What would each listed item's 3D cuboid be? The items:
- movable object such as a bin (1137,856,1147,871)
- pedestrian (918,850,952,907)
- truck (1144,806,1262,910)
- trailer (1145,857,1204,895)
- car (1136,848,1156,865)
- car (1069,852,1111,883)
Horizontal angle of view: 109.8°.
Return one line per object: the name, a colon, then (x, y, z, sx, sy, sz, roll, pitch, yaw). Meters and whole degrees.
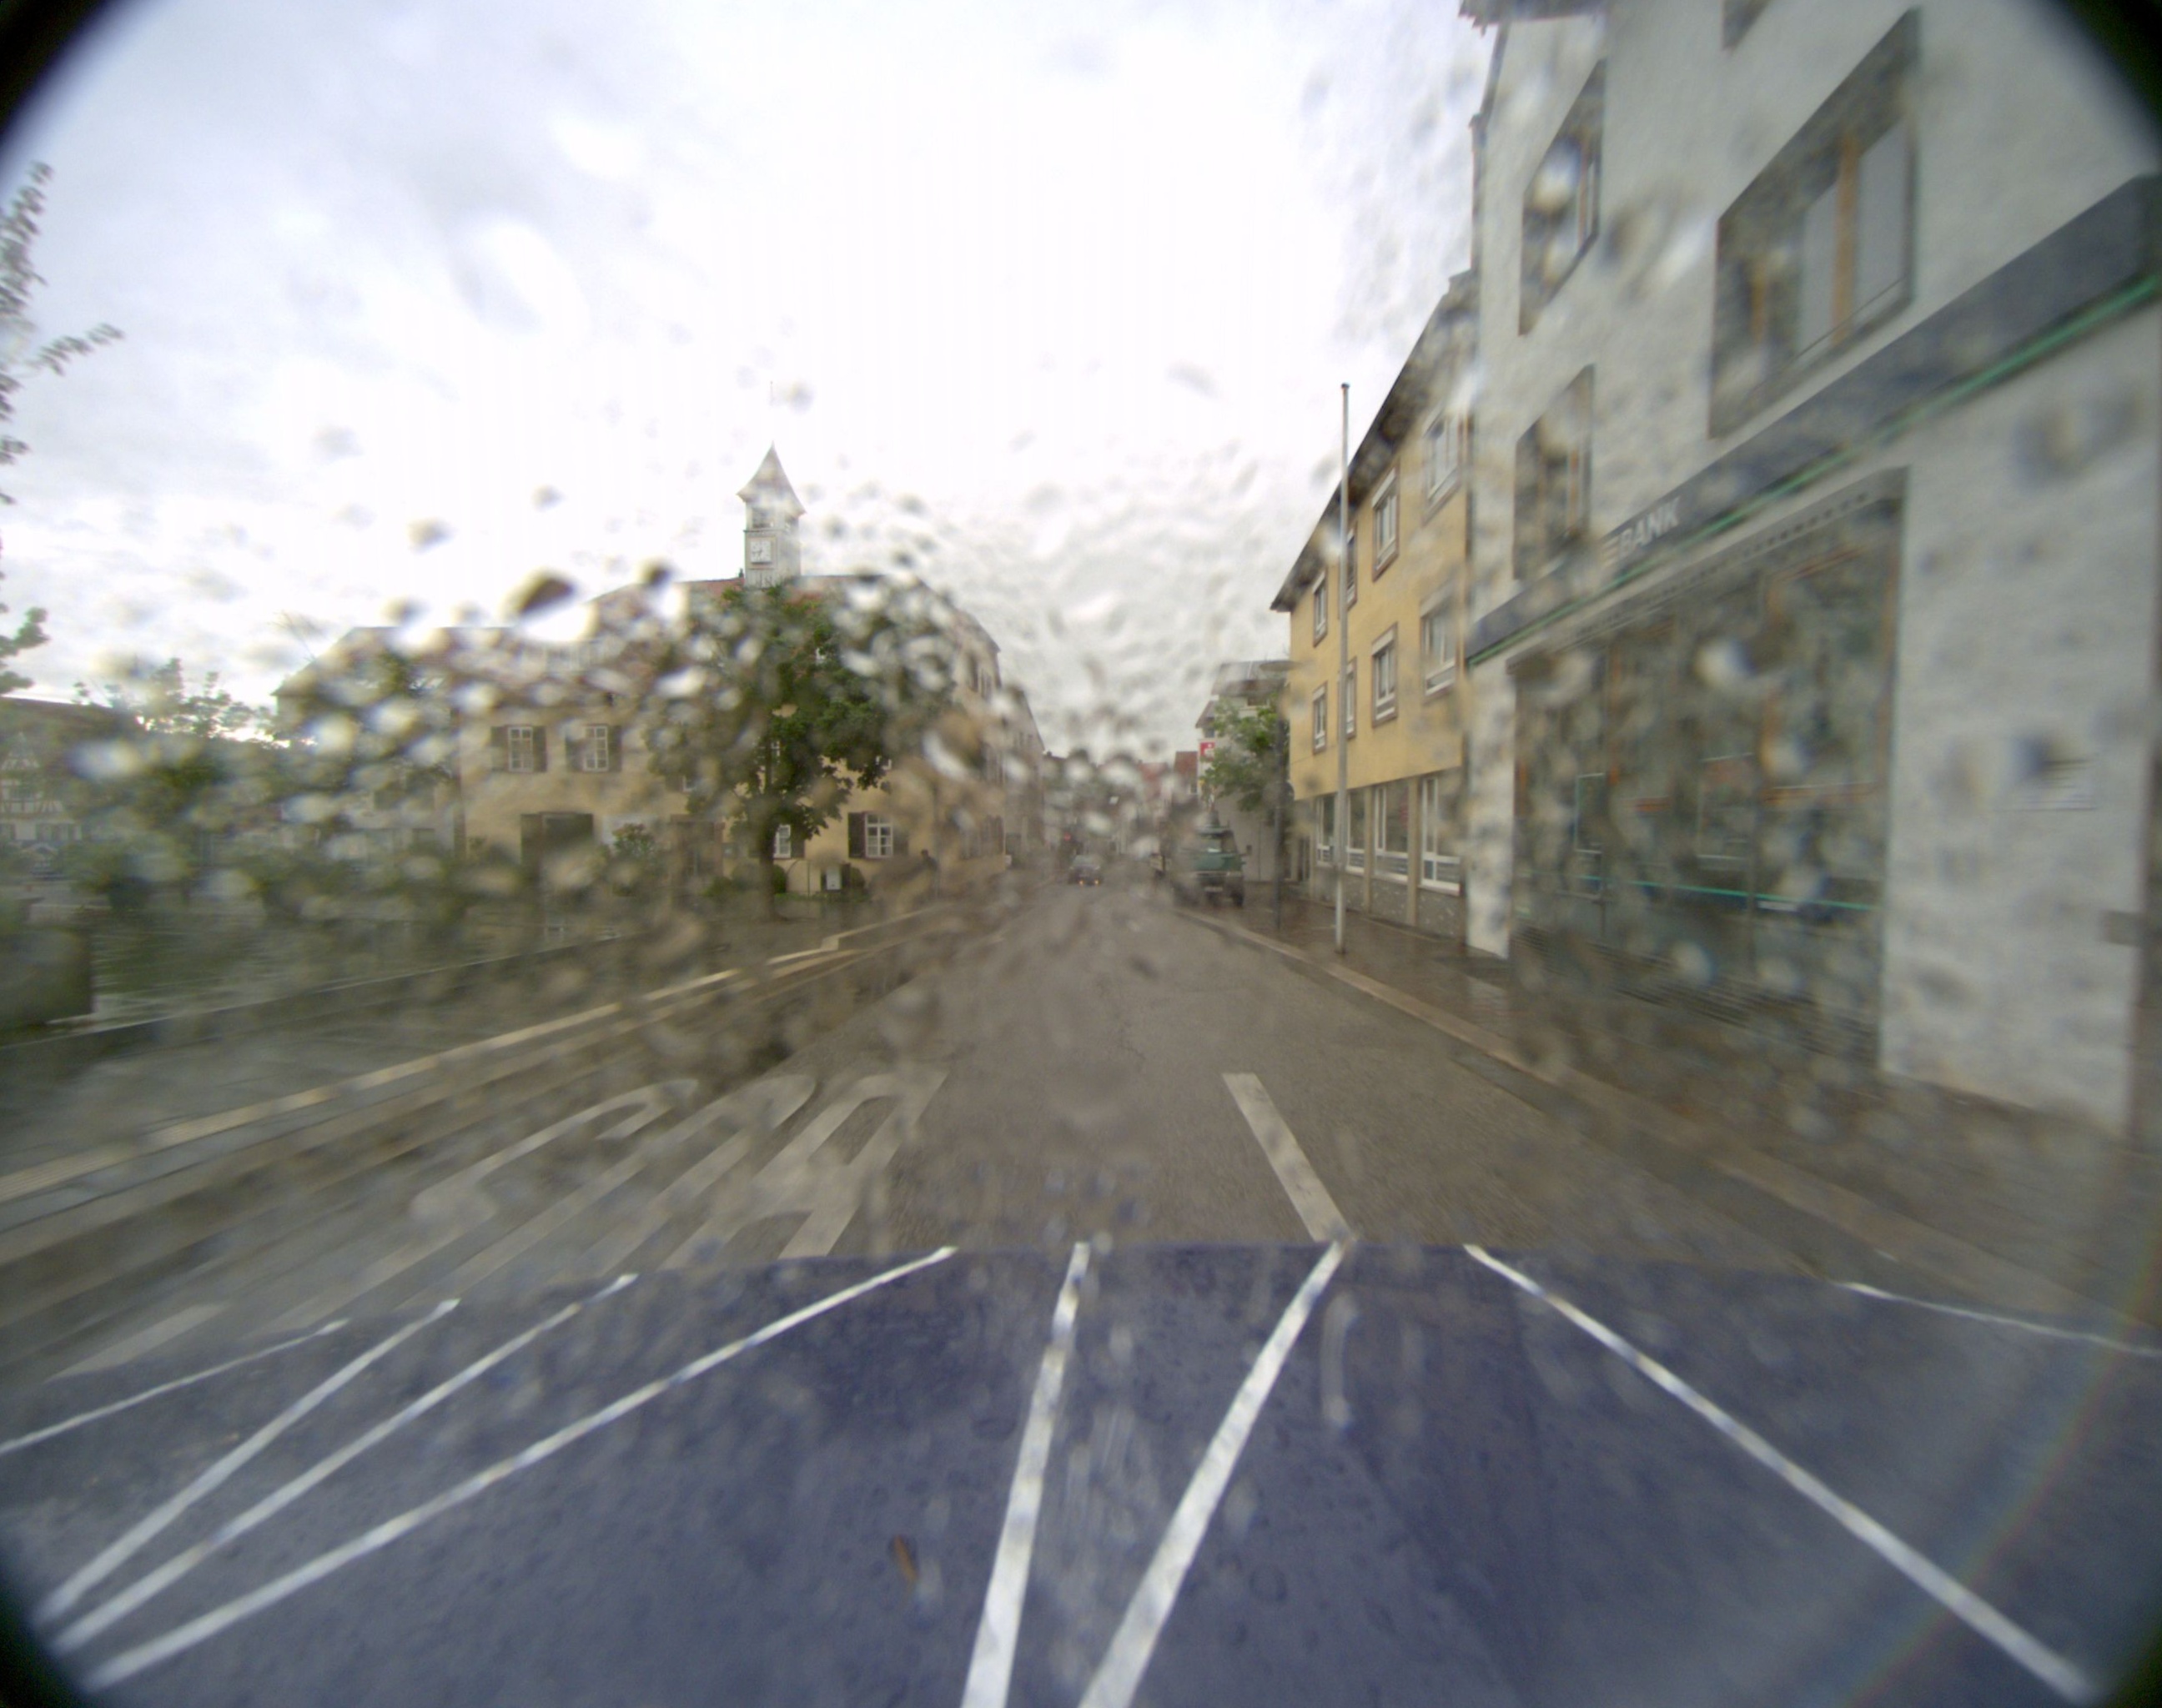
movable object such as a bin: (4.461, 0.691, 55.727, 0.660, 1.090, 0.613, 1, 2, 6)
pedestrian: (-4.403, 0.737, 22.954, 0.869, 1.683, 0.715, 0, 1, -23)
truck: (3.583, 0.124, 23.920, 2.480, 2.778, 6.599, 1, 0, -1)
trailer: (3.479, 0.795, 28.766, 1.732, 1.338, 3.160, 1, 0, -1)
car: (6.181, 0.212, 72.285, 1.693, 1.477, 4.000, 1, 1, 3)
car: (0.531, 0.698, 40.365, 1.735, 1.546, 3.848, 1, -1, 8)
